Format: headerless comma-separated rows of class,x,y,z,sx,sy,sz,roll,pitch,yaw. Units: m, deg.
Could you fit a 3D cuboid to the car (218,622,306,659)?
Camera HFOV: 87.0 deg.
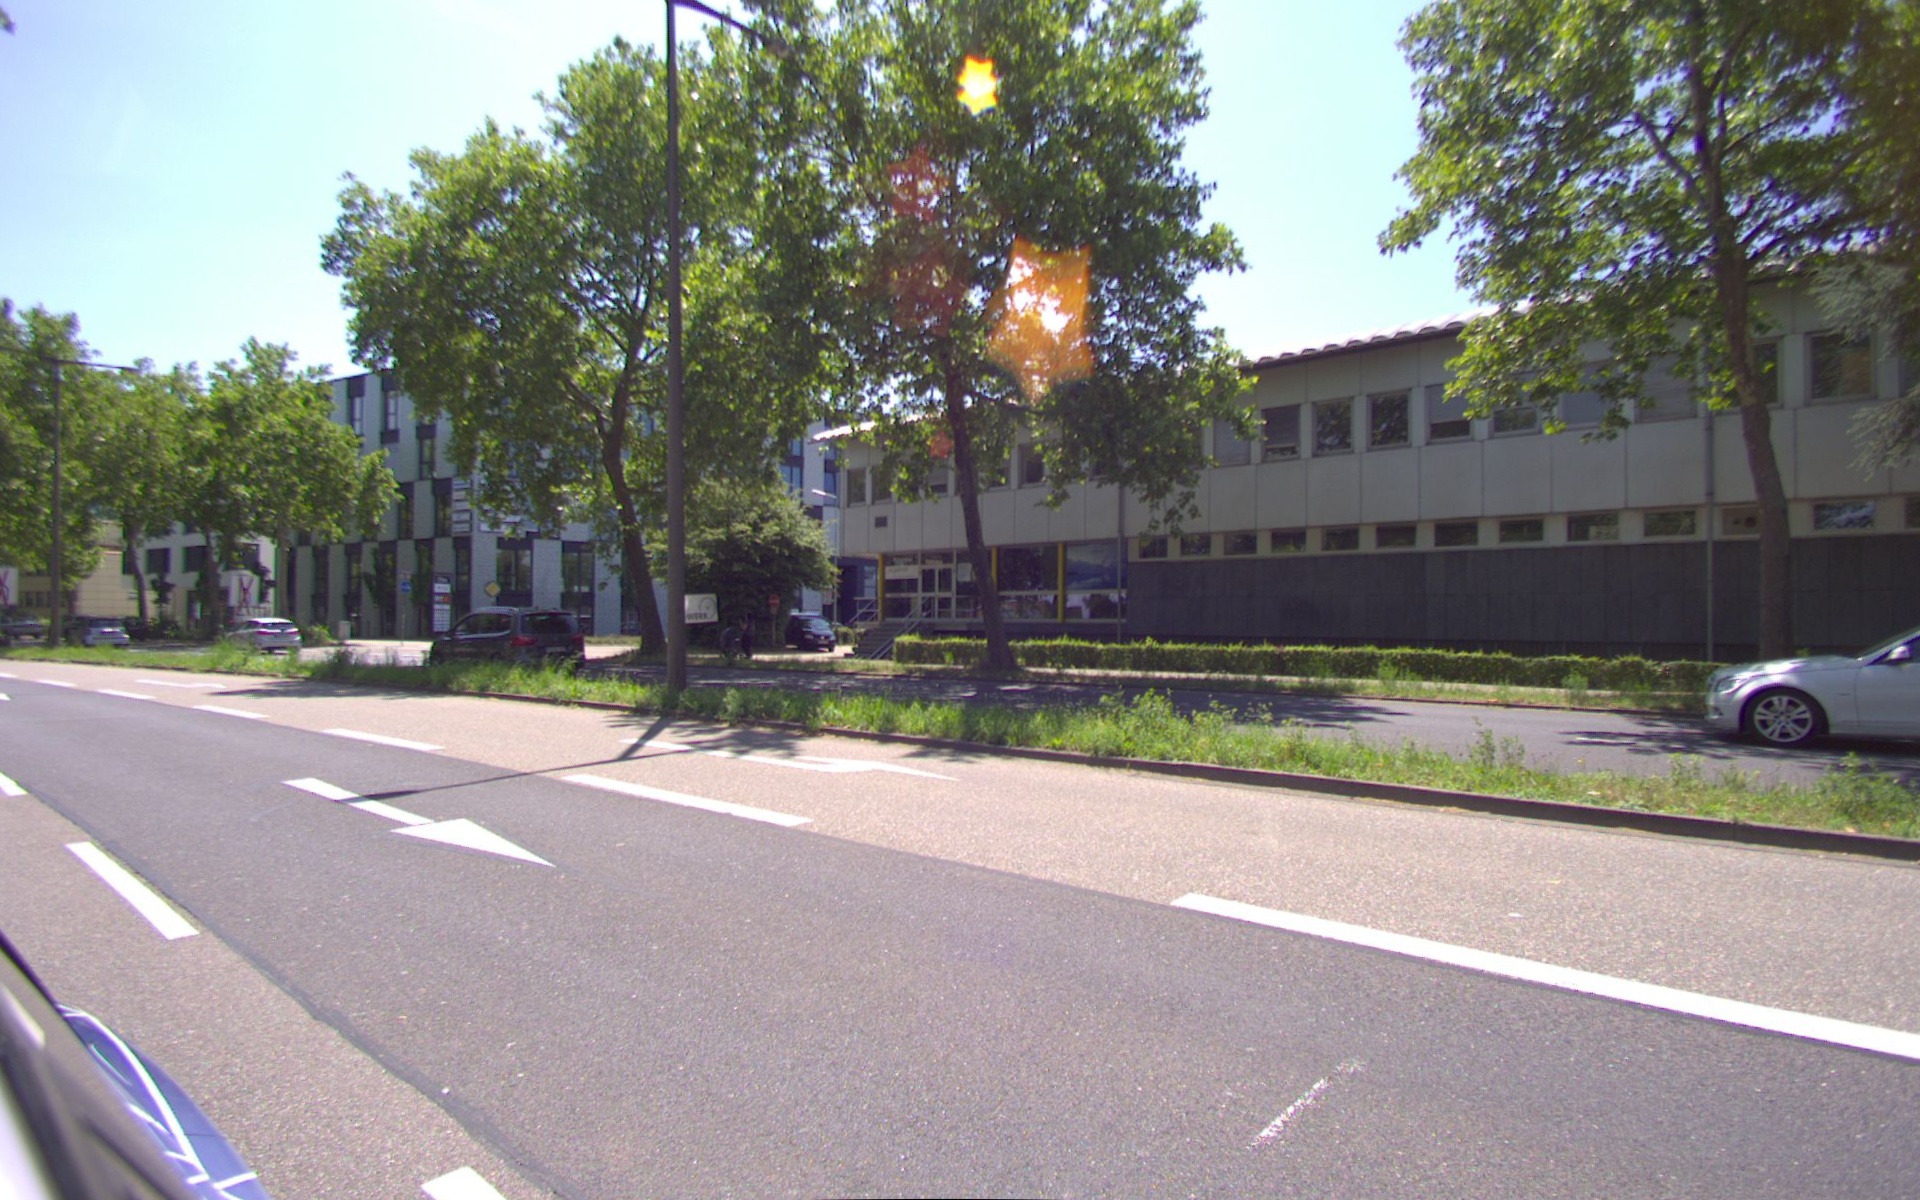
car,-28.563,1.633,41.397,3.663,1.454,1.737,-1,-2,34

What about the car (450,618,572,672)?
car,-12.934,1.255,29.077,3.669,1.470,1.715,-1,-2,39

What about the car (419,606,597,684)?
car,-10.707,1.017,23.832,4.615,1.668,1.930,-1,-2,39

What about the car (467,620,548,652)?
car,-21.545,1.700,48.290,1.662,1.472,3.512,0,-2,16

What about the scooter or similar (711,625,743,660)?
scooter or similar,-7.913,1.438,34.437,0.858,1.172,0.672,-1,-2,38

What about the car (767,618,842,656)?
car,-7.443,1.730,48.341,3.528,1.660,1.795,-1,0,44

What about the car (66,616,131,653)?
car,-37.637,1.505,44.222,2.848,1.540,1.519,-1,-2,36

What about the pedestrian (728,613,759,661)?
pedestrian,-7.256,1.226,33.915,0.790,1.572,0.635,-1,-2,38

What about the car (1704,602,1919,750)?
car,10.298,0.737,10.015,4.547,1.429,1.833,-1,-2,43
